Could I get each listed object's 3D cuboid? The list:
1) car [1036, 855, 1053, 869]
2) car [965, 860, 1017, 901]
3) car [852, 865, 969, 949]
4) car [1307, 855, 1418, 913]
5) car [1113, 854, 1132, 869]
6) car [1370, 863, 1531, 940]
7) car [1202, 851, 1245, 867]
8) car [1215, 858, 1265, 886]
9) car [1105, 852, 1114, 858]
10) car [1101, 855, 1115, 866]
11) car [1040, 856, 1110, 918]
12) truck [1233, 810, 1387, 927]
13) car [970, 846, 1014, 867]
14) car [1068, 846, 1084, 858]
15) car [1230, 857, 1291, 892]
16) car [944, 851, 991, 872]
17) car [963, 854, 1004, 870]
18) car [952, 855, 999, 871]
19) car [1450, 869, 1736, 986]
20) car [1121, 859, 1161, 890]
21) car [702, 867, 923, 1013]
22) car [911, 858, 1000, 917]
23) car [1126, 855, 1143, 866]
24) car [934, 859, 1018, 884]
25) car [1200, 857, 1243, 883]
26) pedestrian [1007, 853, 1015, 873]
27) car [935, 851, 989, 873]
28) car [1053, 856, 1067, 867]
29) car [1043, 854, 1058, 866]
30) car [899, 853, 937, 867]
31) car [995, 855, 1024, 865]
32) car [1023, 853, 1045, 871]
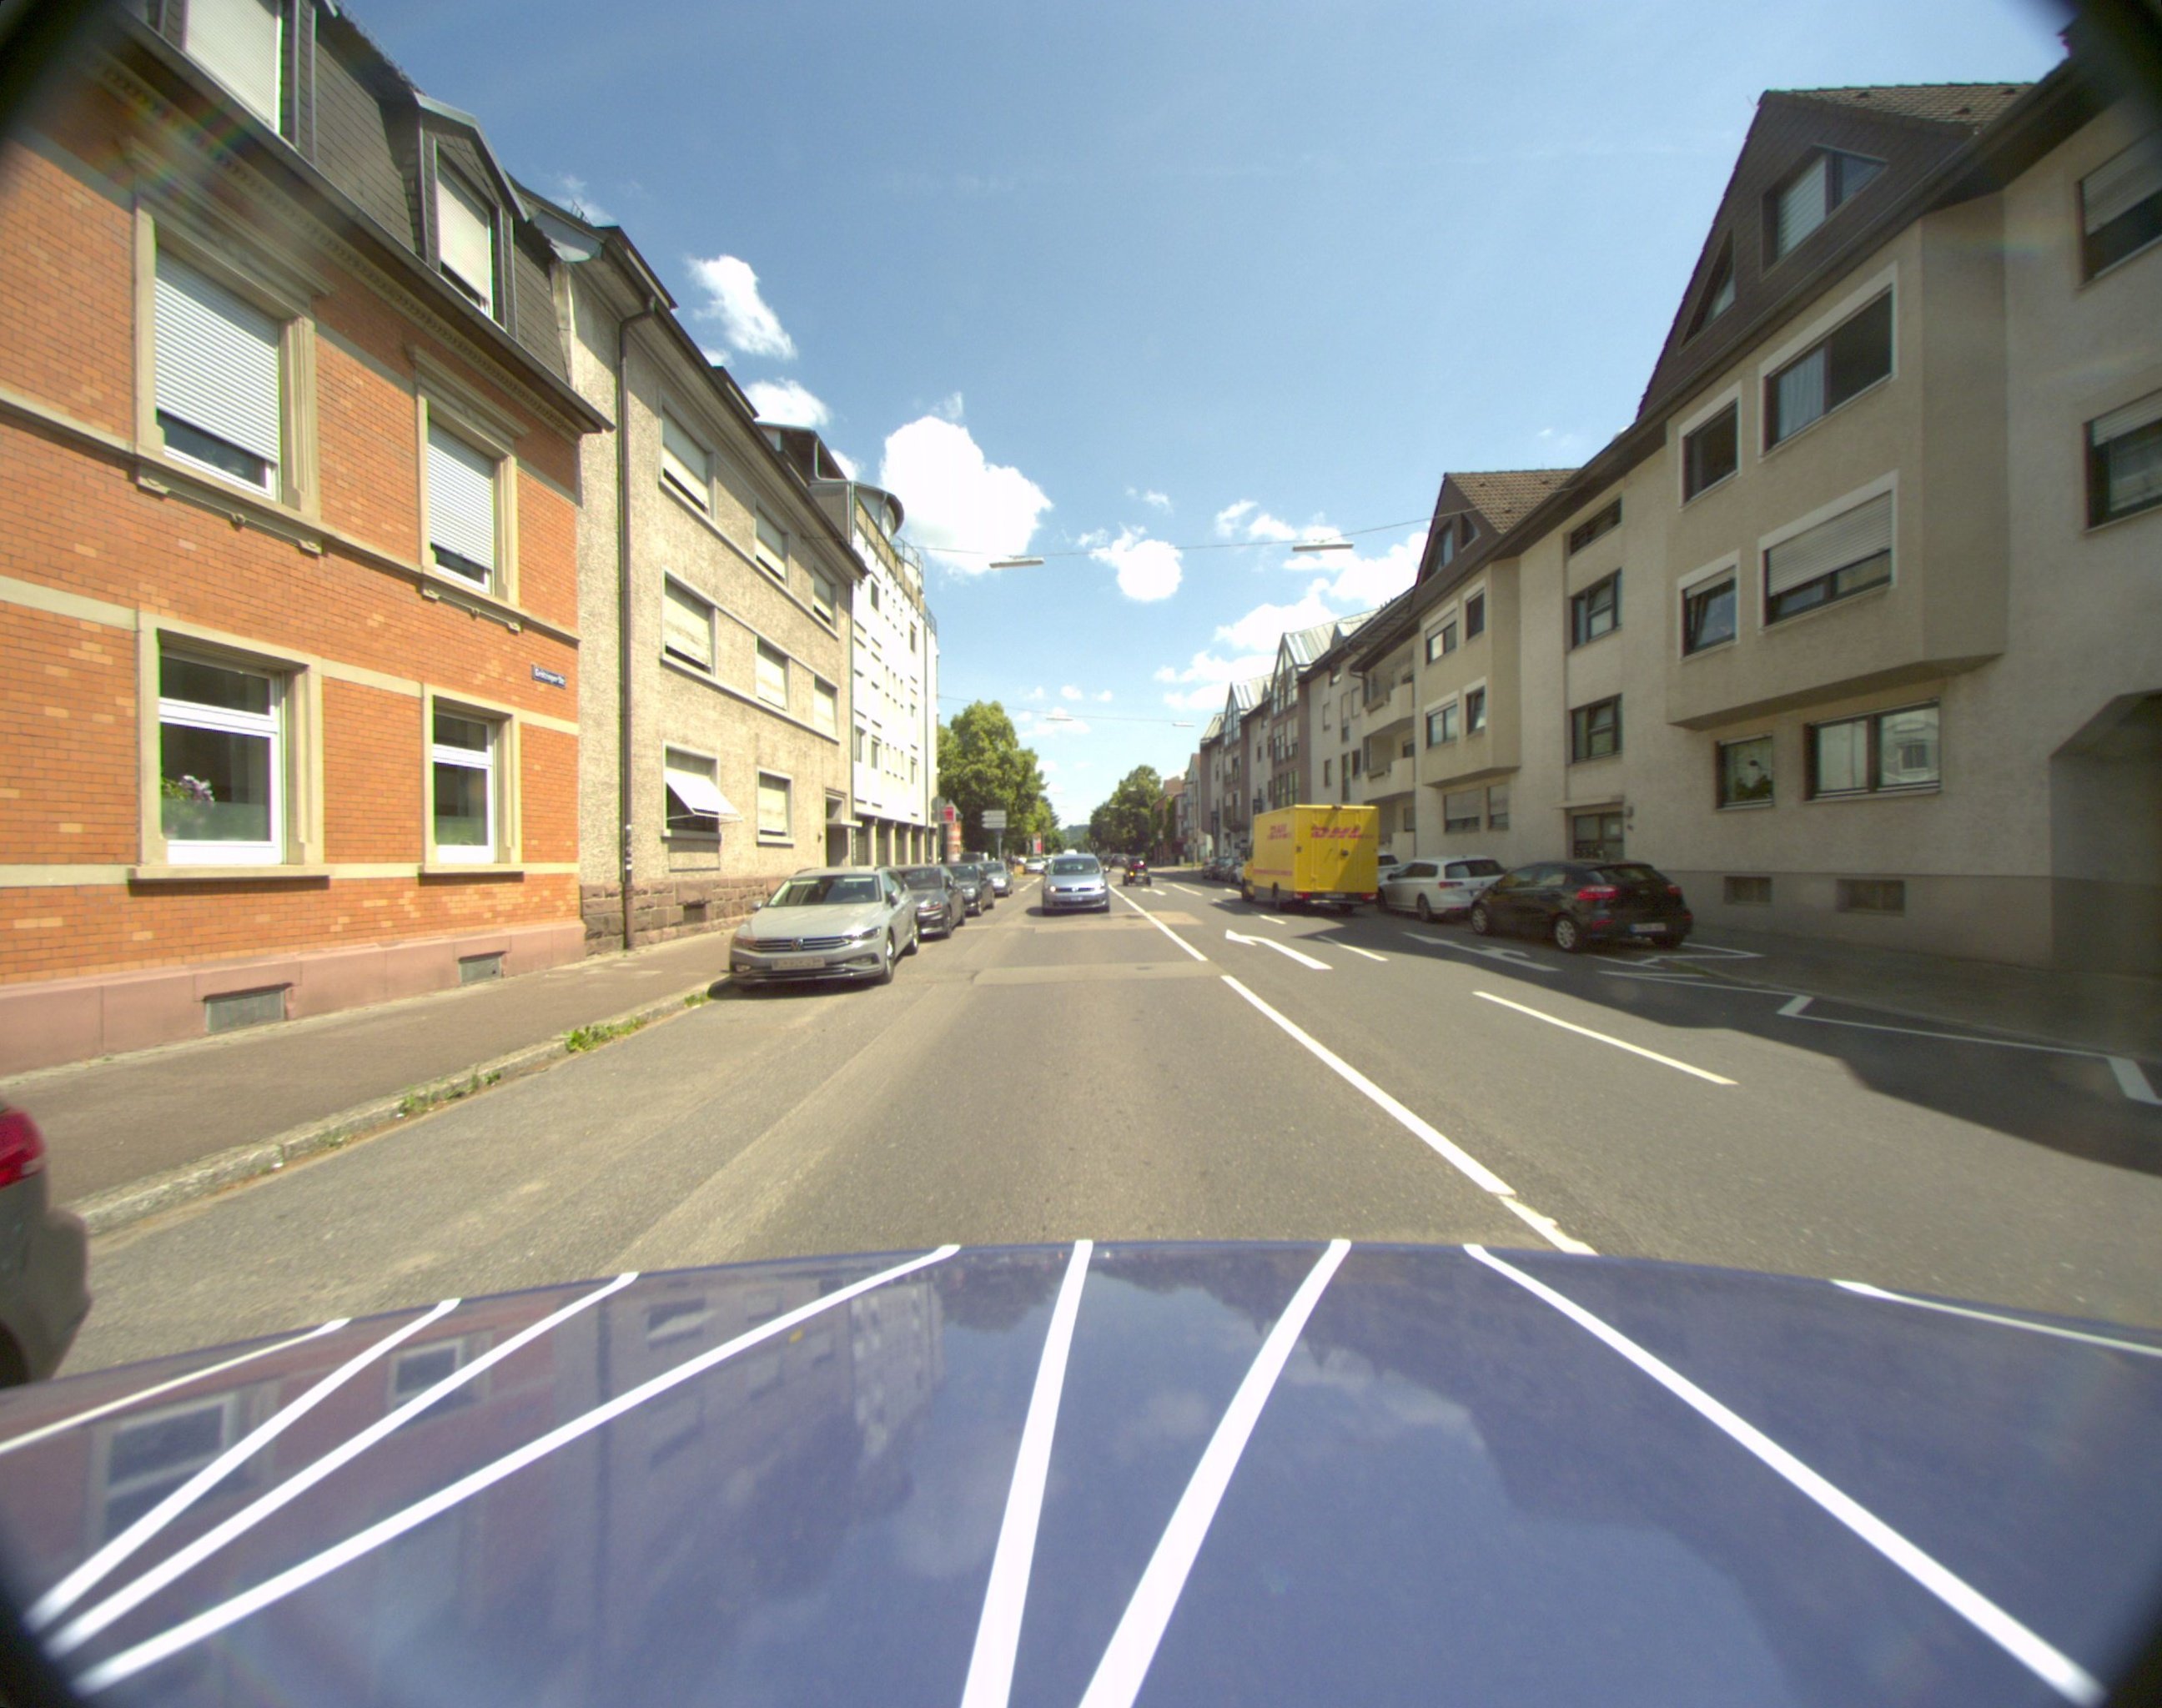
[{"bbox_3d":[-3.872,0.863,81.240,1.667,1.420,4.000,0,0,0],"label":"car"},{"bbox_3d":[-3.545,1.021,30.447,1.682,1.446,4.142,-2,0,-2],"label":"car"},{"bbox_3d":[-3.323,0.972,15.537,1.656,1.412,4.047,0,0,-3],"label":"car"},{"bbox_3d":[8.806,0.870,24.191,1.844,1.586,4.385,-2,1,-1],"label":"car"},{"bbox_3d":[4.783,0.877,87.305,1.817,1.611,4.441,1,0,-2],"label":"car"},{"bbox_3d":[8.696,1.045,18.363,1.844,1.479,4.386,-2,1,2],"label":"car"},{"bbox_3d":[14.693,0.512,78.342,3.998,1.443,1.733,-4,-1,-2],"label":"car"},{"bbox_3d":[8.931,1.005,43.034,1.844,1.376,4.326,-2,1,0],"label":"car"},{"bbox_3d":[6.673,0.295,178.984,1.758,1.325,3.607,-1,0,-2],"label":"car"},{"bbox_3d":[3.726,0.930,104.996,1.747,1.411,4.223,1,0,1],"label":"car"},{"bbox_3d":[-0.171,0.832,21.016,1.747,1.513,4.222,0,0,-1],"label":"car"},{"bbox_3d":[6.260,0.328,22.061,2.231,2.755,7.563,2,0,1],"label":"truck"},{"bbox_3d":[-9.912,0.268,84.958,4.614,2.263,2.105,-2,1,0],"label":"car"},{"bbox_3d":[-0.618,-0.256,97.018,1.720,1.406,4.590,1,0,2],"label":"car"},{"bbox_3d":[8.844,0.968,37.739,1.844,1.480,4.385,-2,1,-1],"label":"car"},{"bbox_3d":[-9.479,0.624,63.520,3.774,1.657,1.663,0,1,-5],"label":"car"},{"bbox_3d":[-10.128,0.831,79.035,3.997,1.464,1.717,-2,1,1],"label":"car"},{"bbox_3d":[-9.487,0.820,68.517,3.998,1.390,1.807,-1,1,-2],"label":"car"},{"bbox_3d":[8.418,1.093,13.117,1.844,1.479,4.501,-2,1,-1],"label":"car"},{"bbox_3d":[2.903,0.960,37.226,1.501,1.450,2.721,0,0,-5],"label":"car"},{"bbox_3d":[-3.423,0.984,10.658,1.859,1.455,4.547,-1,1,-6],"label":"car"},{"bbox_3d":[-3.403,0.853,21.394,1.716,1.464,4.438,0,0,1],"label":"car"},{"bbox_3d":[7.487,0.876,106.964,1.891,1.531,4.567,0,0,-2],"label":"car"},{"bbox_3d":[-6.013,0.973,43.811,4.594,1.357,1.999,-1,0,-3],"label":"car"},{"bbox_3d":[8.828,0.951,48.129,1.844,1.439,4.968,-2,1,1],"label":"car"},{"bbox_3d":[-6.151,0.809,66.497,0.618,1.754,0.737,-1,1,-1],"label":"pedestrian"},{"bbox_3d":[-9.496,0.618,60.884,3.997,1.740,2.016,-1,1,-1],"label":"car"},{"bbox_3d":[-3.044,1.059,110.172,1.867,1.516,4.208,-1,0,0],"label":"car"},{"bbox_3d":[-4.107,0.791,102.801,1.721,1.434,4.111,-1,0,1],"label":"car"},{"bbox_3d":[-18.759,0.666,87.503,3.997,1.464,1.804,1,1,1],"label":"car"},{"bbox_3d":[-9.638,0.794,102.689,3.849,1.350,1.628,-1,1,-9],"label":"car"},{"bbox_3d":[-4.066,0.689,66.148,1.771,1.476,3.890,-1,1,-2],"label":"car"}]
